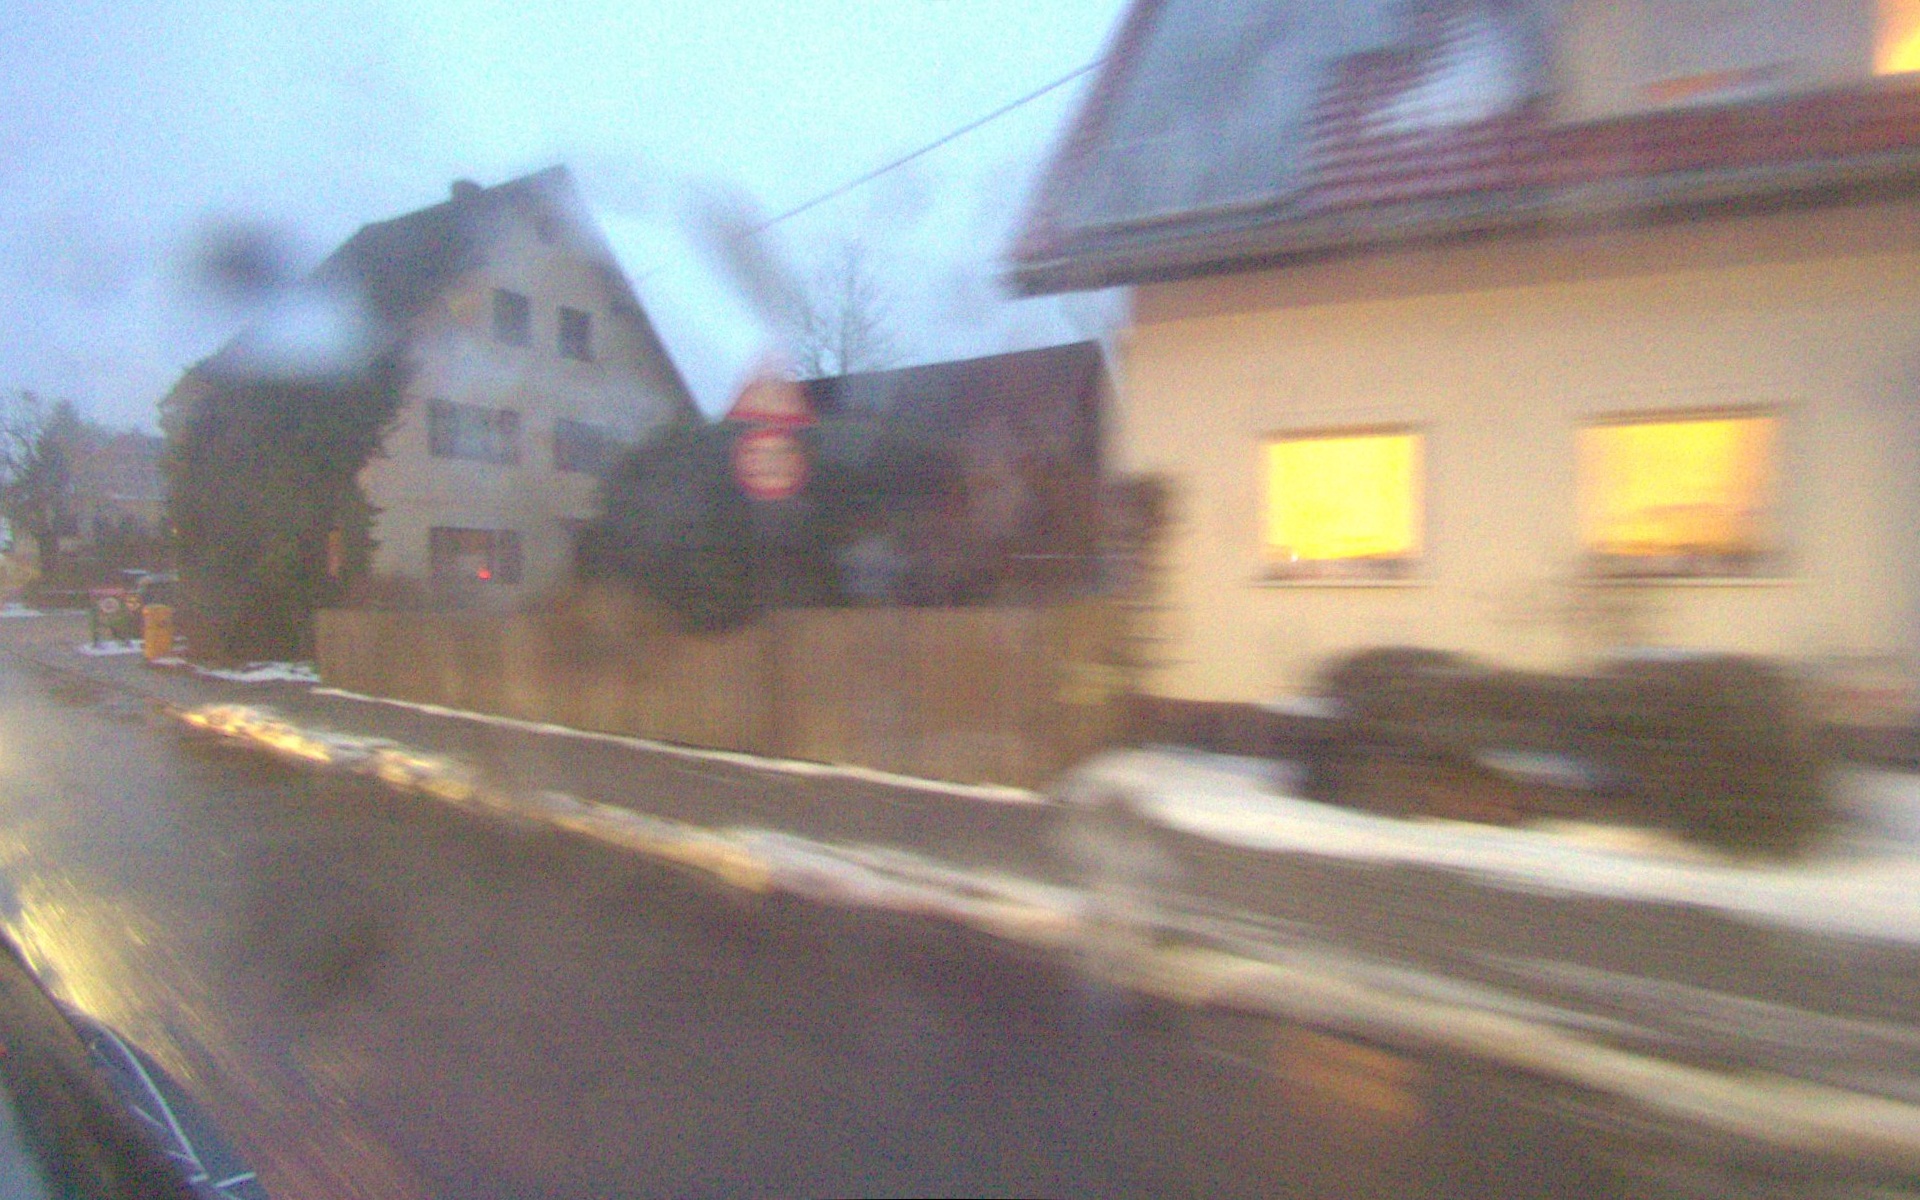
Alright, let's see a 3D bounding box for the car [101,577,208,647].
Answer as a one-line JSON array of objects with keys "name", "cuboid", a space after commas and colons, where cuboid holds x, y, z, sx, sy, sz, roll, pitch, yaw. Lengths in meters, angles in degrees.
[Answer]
[{"name": "car", "cuboid": [-26.434, 0.346, 33.158, 4.081, 2.052, 1.973, 0, 5, 42]}]
